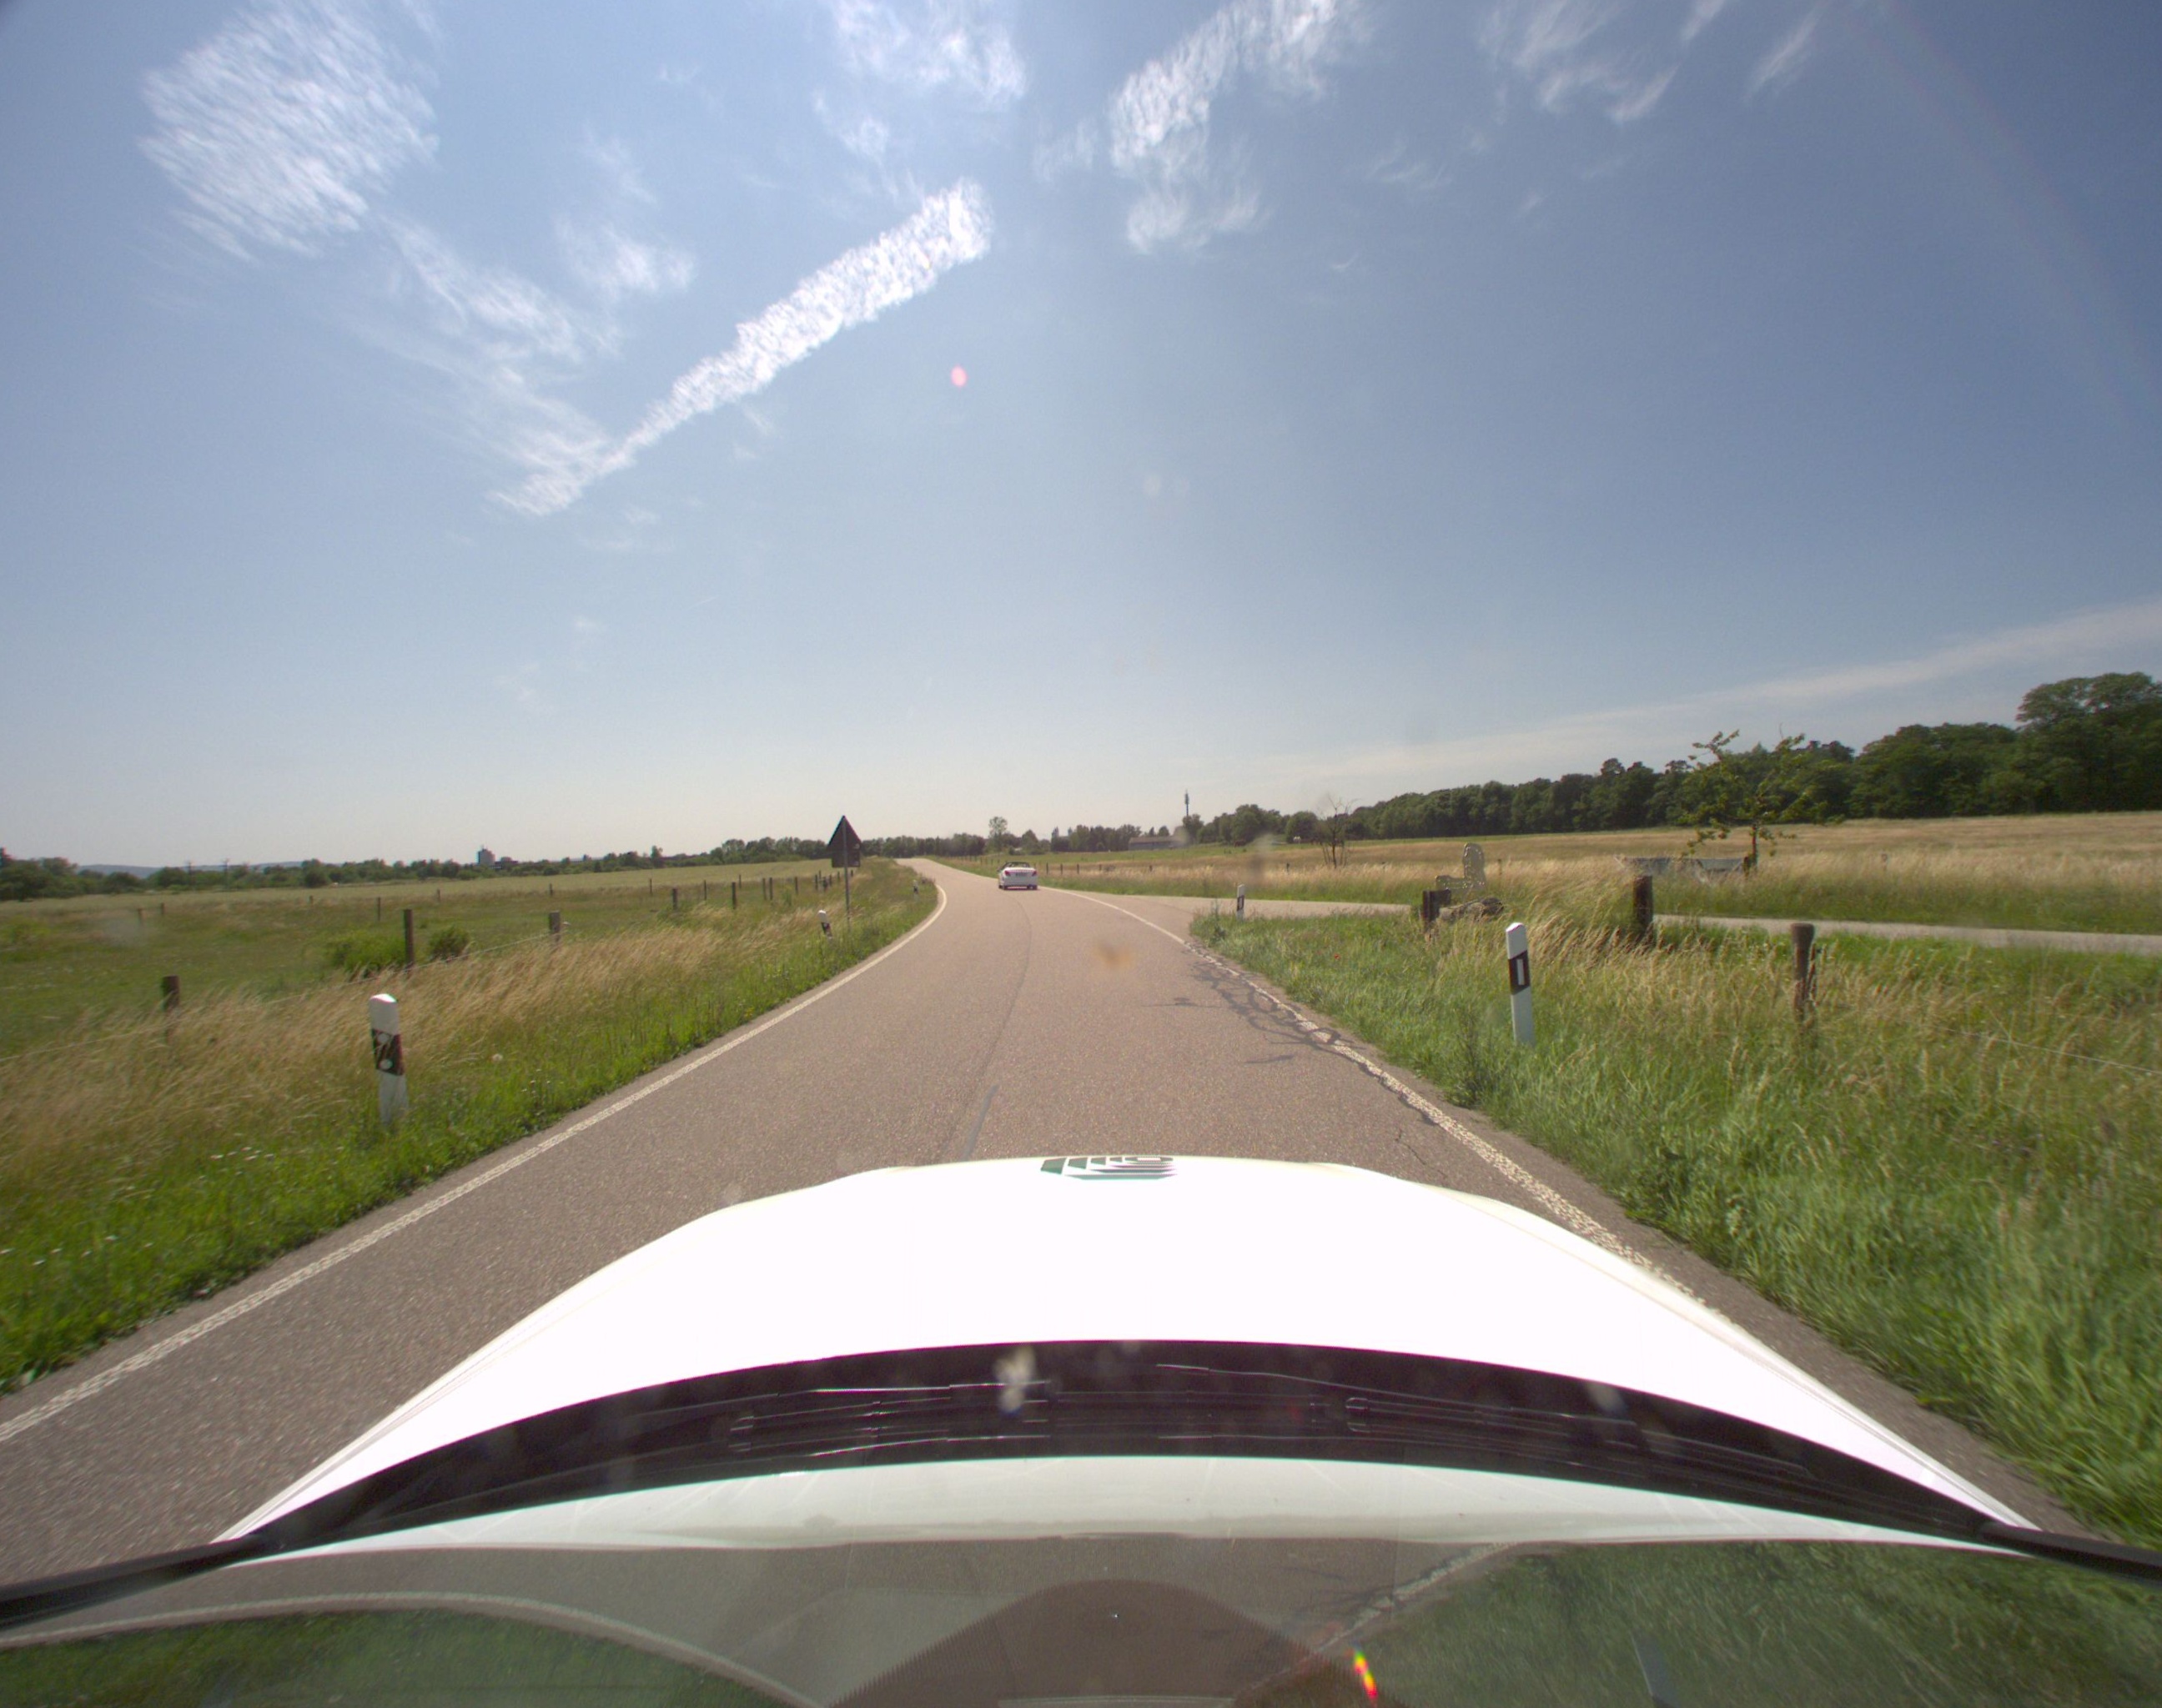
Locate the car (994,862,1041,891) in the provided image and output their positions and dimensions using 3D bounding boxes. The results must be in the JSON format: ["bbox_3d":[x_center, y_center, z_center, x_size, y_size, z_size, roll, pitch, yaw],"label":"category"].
[{"bbox_3d":[-3.264,1.126,41.163,1.852,1.379,3.983,0,-1,-12],"label":"car"}]
